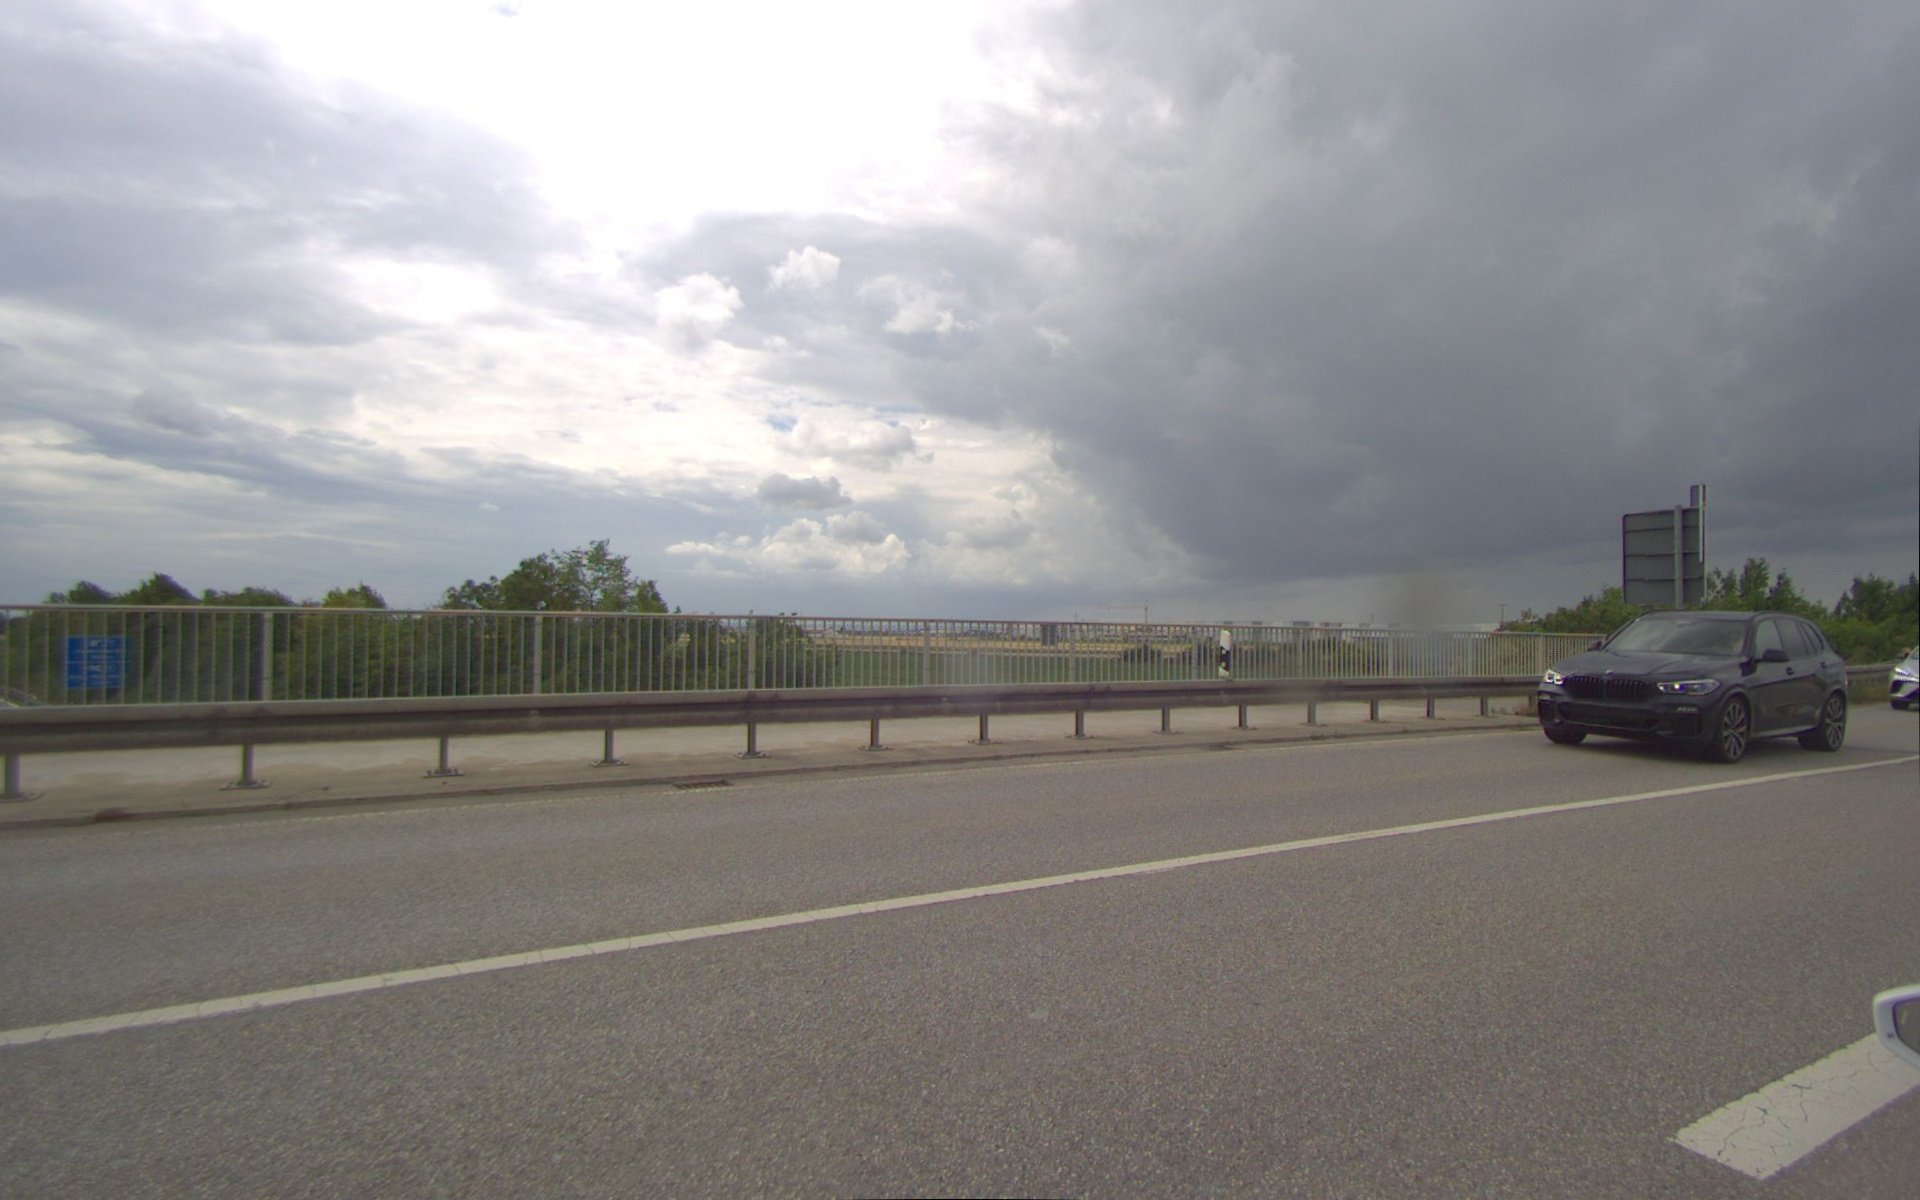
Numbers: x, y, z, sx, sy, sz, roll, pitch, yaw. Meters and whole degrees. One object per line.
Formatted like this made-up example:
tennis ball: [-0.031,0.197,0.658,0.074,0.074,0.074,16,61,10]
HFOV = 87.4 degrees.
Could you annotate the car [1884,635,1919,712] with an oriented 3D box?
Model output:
car: [20.769,1.531,20.736,4.238,1.506,1.700,3,-2,-36]

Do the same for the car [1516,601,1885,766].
car: [9.420,0.979,12.702,4.704,1.755,1.985,2,-1,-29]
